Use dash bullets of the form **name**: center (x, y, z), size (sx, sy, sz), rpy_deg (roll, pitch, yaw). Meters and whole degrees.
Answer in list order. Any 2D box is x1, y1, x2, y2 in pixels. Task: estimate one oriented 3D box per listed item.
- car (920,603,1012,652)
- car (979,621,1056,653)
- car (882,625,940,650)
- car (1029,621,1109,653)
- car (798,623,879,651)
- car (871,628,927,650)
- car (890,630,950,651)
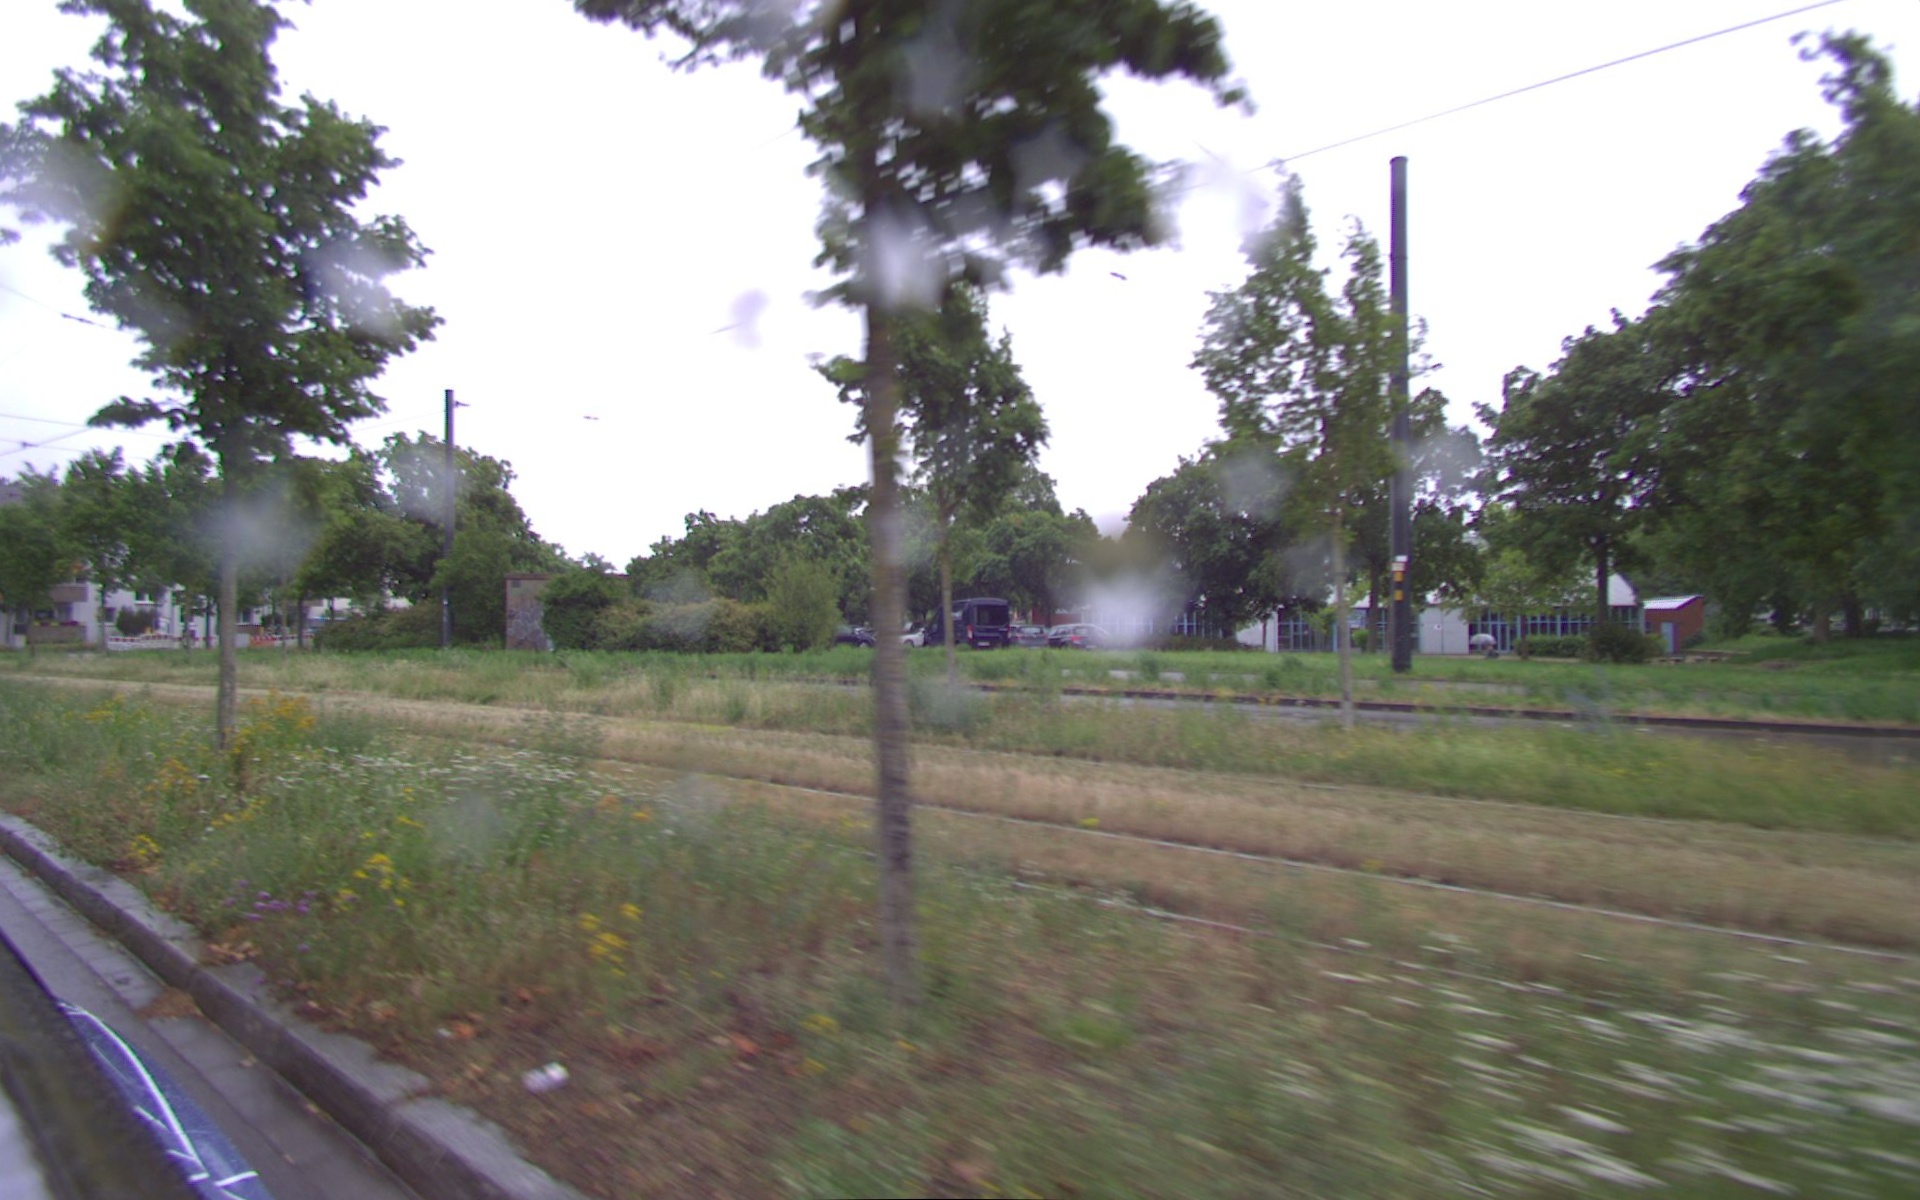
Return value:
- **car**: center (0.163, 1.192, 43.056), size (2.001, 1.962, 4.730), rpy_deg (1, -2, -26)
- **car**: center (2.474, 1.645, 44.645), size (1.805, 1.349, 4.111), rpy_deg (1, -2, -23)
- **car**: center (-3.691, 2.792, 75.709), size (3.992, 1.836, 1.696), rpy_deg (1, -2, -28)
- **car**: center (4.822, 1.654, 45.283), size (1.805, 1.349, 4.111), rpy_deg (1, -2, -23)
- **car**: center (-6.475, 1.934, 53.735), size (3.992, 1.445, 1.696), rpy_deg (0, -2, -19)
- **car**: center (-4.691, 2.971, 77.848), size (3.992, 1.586, 1.696), rpy_deg (1, -2, -28)
- **car**: center (-2.865, 2.907, 73.116), size (3.992, 1.445, 1.696), rpy_deg (1, -2, -28)
